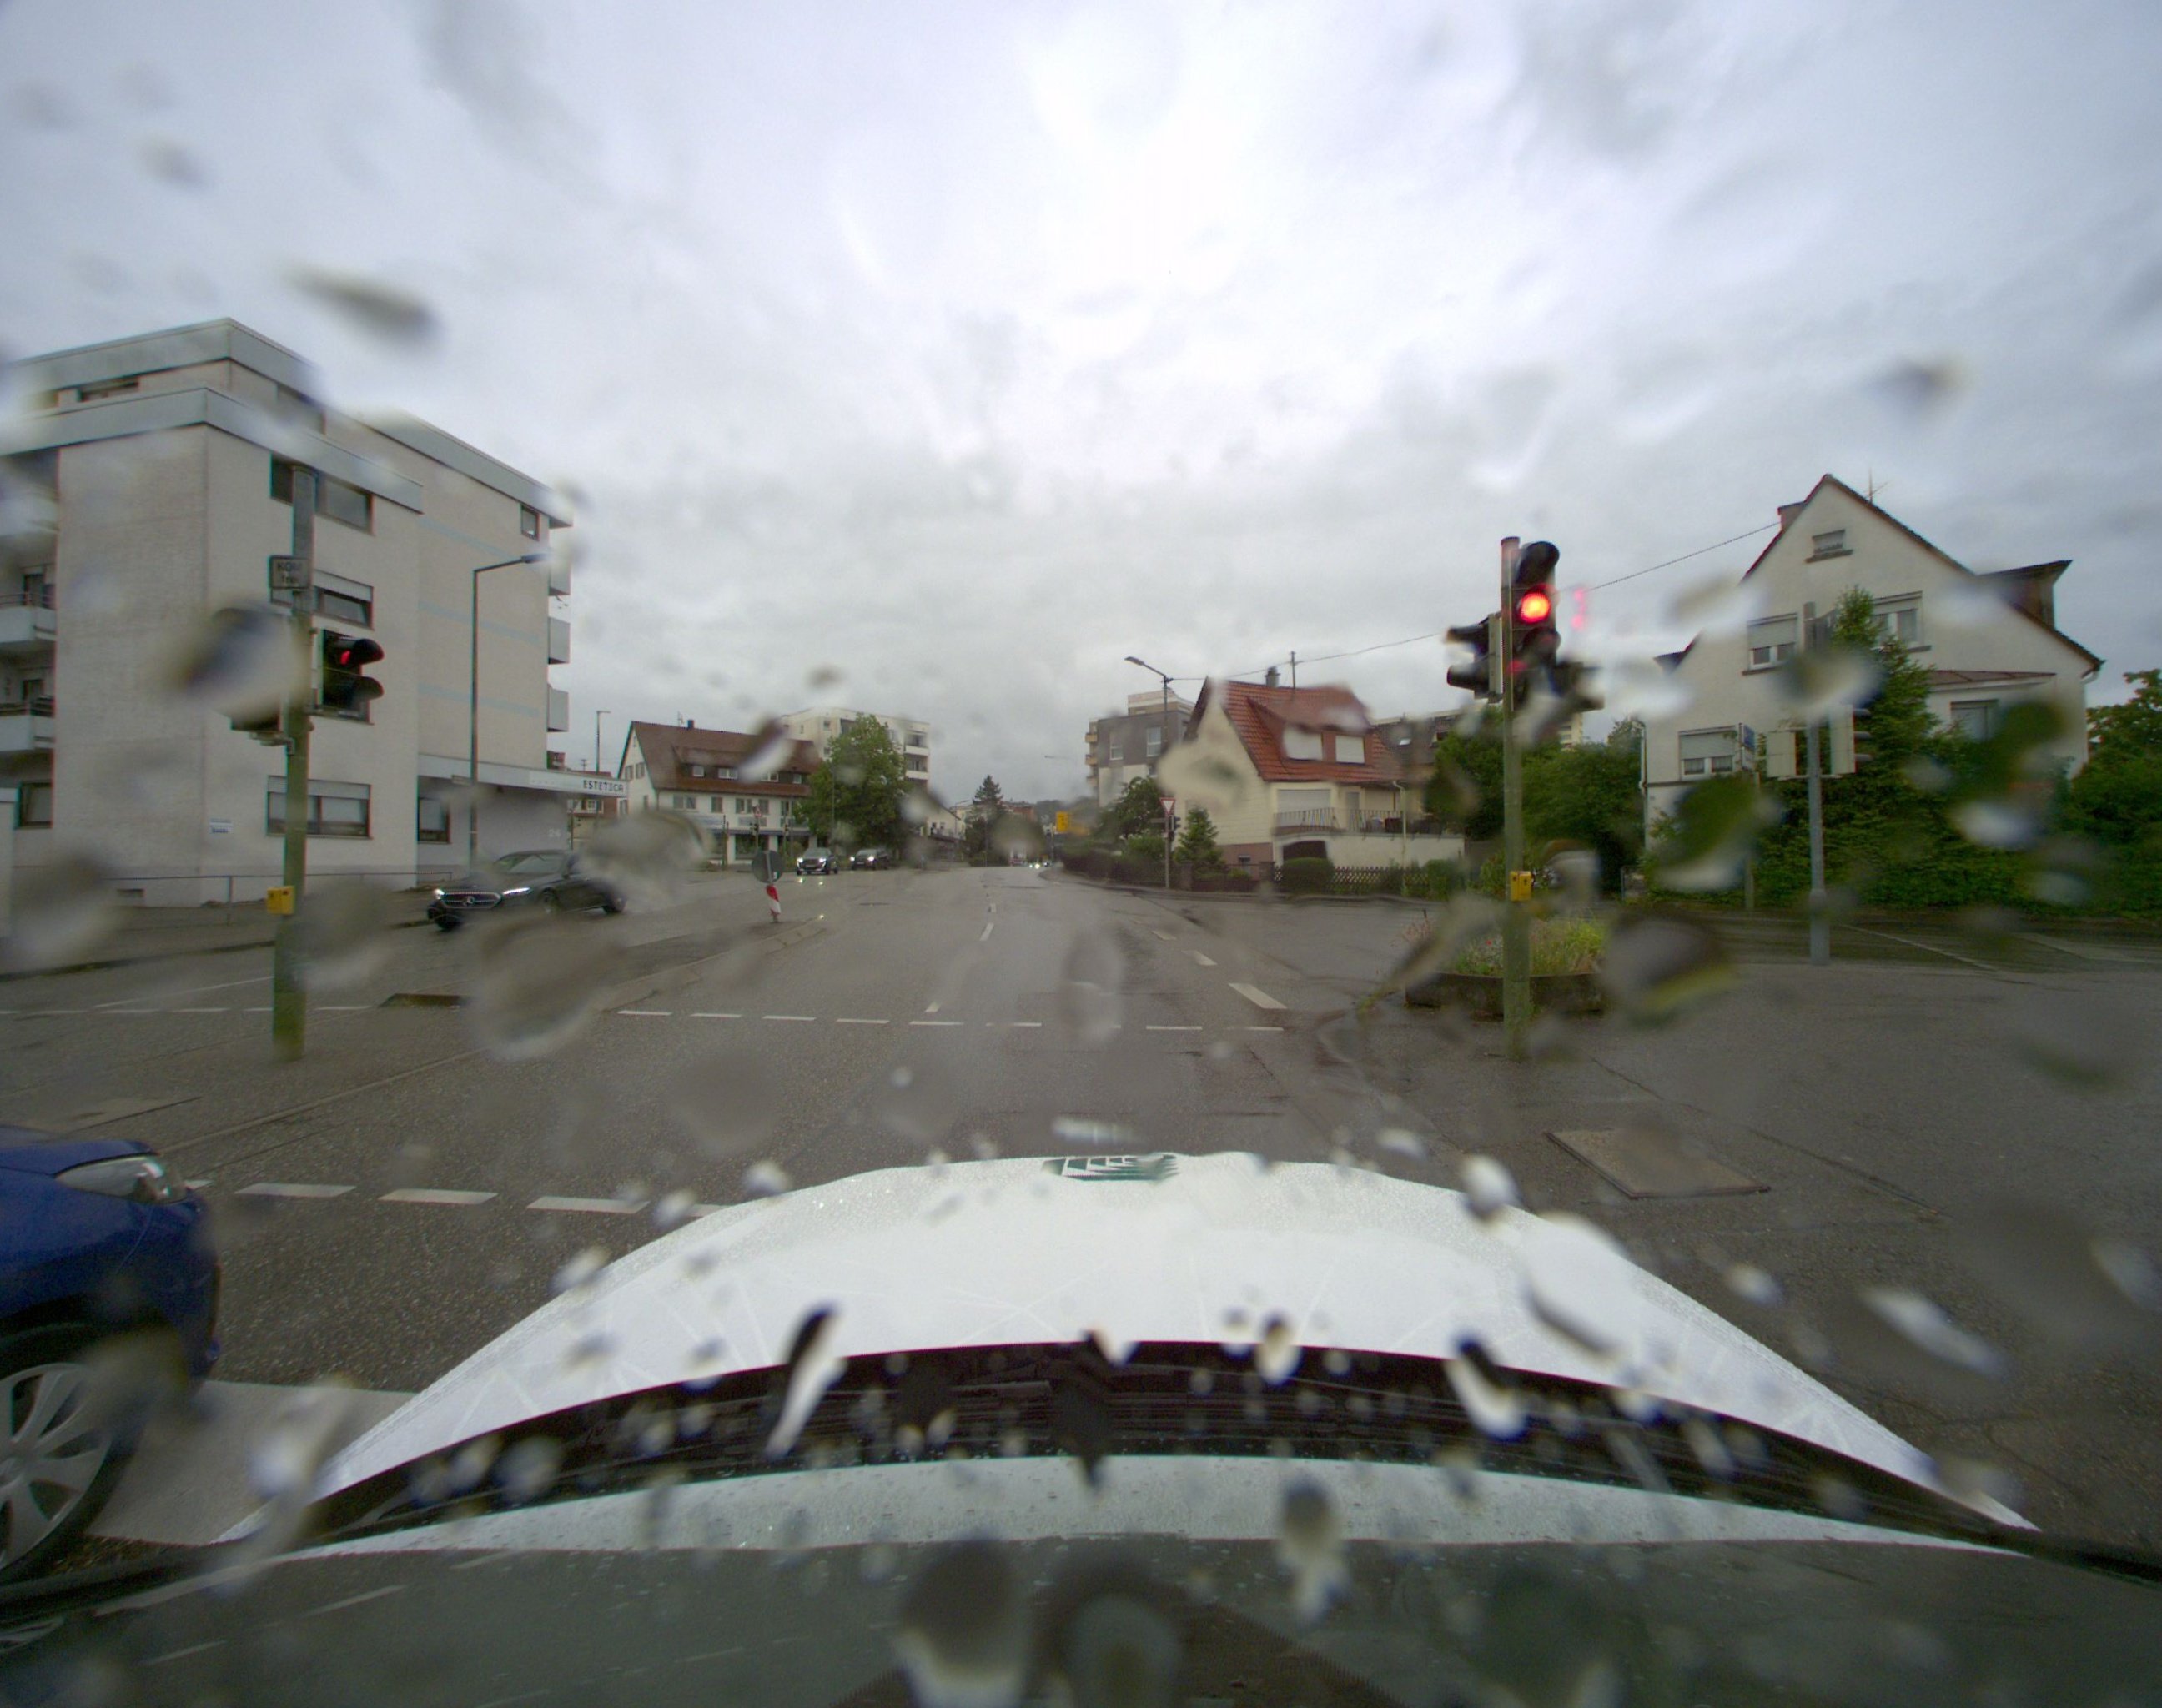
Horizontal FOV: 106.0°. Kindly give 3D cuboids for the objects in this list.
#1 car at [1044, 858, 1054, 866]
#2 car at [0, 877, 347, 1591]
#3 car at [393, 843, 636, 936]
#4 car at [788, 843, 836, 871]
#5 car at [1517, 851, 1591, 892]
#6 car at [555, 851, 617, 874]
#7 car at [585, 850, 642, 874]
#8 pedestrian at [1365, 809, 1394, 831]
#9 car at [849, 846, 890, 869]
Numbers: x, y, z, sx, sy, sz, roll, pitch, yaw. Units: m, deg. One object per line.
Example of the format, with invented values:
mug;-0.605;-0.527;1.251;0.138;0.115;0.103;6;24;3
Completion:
car;-6.834;1.684;174.551;1.990;1.737;5.173;0;0;-4
car;-2.958;0.786;0.715;1.499;1.413;3.365;0;0;2
car;-11.297;0.643;16.751;1.989;1.625;4.534;0;0;-3
car;-15.186;0.181;46.119;1.966;1.512;3.987;0;-1;-9
car;17.108;0.593;29.359;1.794;1.362;4.025;-1;-1;37
car;-41.214;0.679;67.796;4.093;1.843;1.864;0;-1;-44
car;-38.441;0.639;66.973;3.706;1.920;1.864;0;-1;-44
pedestrian;12.768;-1.437;34.844;0.918;0.883;0.632;0;-3;-18
car;-15.568;0.287;60.063;1.873;1.597;4.184;0;-1;0
